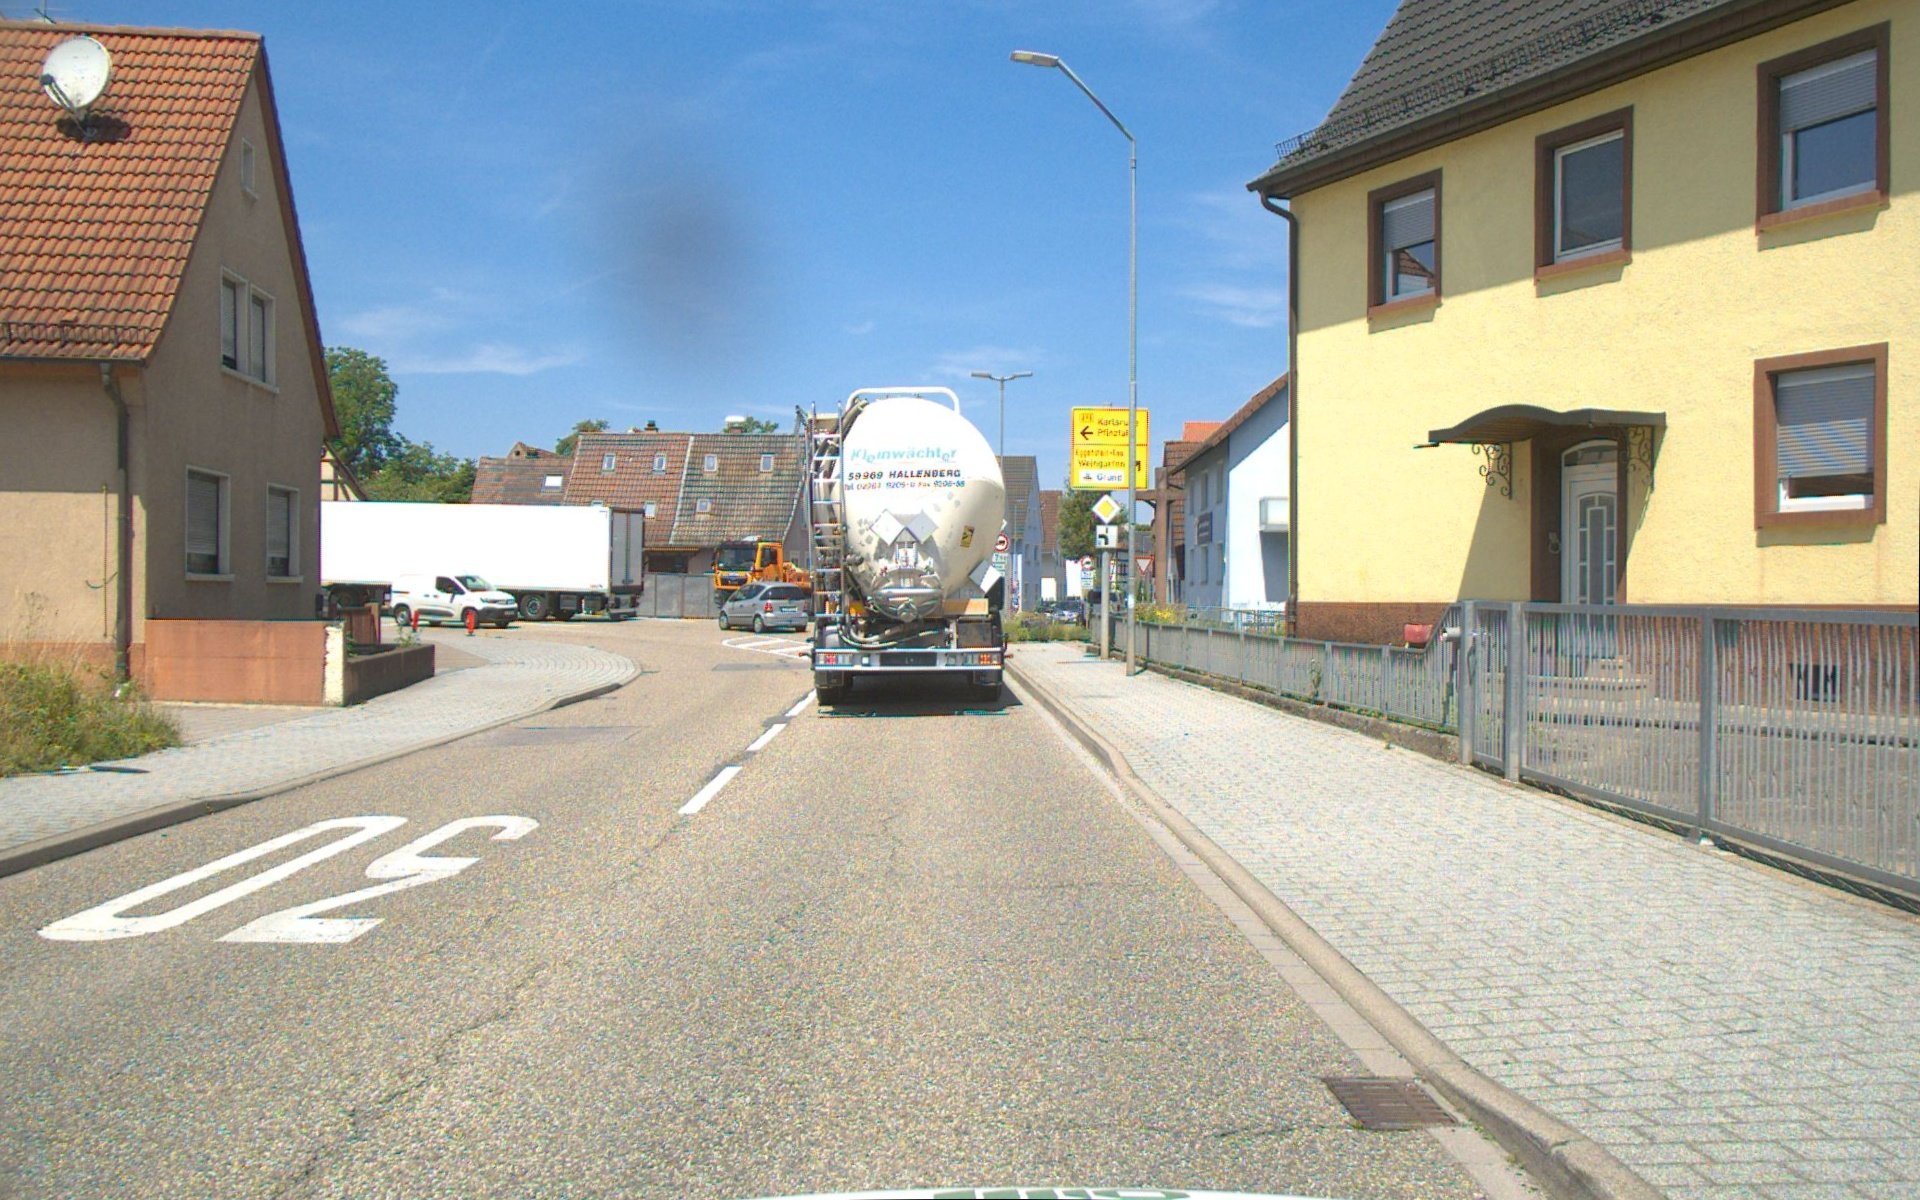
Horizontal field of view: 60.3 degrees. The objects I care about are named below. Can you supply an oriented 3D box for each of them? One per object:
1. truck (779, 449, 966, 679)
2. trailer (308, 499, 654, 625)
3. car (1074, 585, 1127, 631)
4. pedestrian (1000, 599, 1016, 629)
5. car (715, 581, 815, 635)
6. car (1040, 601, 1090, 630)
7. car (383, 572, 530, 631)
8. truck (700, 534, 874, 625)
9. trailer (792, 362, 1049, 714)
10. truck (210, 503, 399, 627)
[{"bbox_3d":[-1.862,-0.610,32.455,2.933,4.034,5.566,2,-1,-10],"label":"truck"},{"bbox_3d":[-17.431,-1.366,60.191,12.189,4.352,3.144,1,-1,15],"label":"trailer"},{"bbox_3d":[6.494,0.390,76.067,1.951,1.946,4.327,1,-2,11],"label":"car"},{"bbox_3d":[3.252,0.939,111.432,0.753,2.049,0.977,1,0,19],"label":"pedestrian"},{"bbox_3d":[-6.183,0.247,52.252,1.766,1.613,3.565,0,0,-33],"label":"car"},{"bbox_3d":[6.660,0.969,104.288,1.952,1.704,4.312,1,-1,21],"label":"car"},{"bbox_3d":[-16.644,0.026,54.678,4.414,1.816,1.880,1,1,20],"label":"car"},{"bbox_3d":[-6.654,-0.696,64.876,2.614,3.237,7.439,0,-2,34],"label":"truck"},{"bbox_3d":[-1.034,-0.699,25.052,2.896,4.017,11.603,1,0,-6],"label":"trailer"},{"bbox_3d":[-24.520,-1.270,61.977,5.790,4.478,3.117,1,-1,15],"label":"truck"}]
